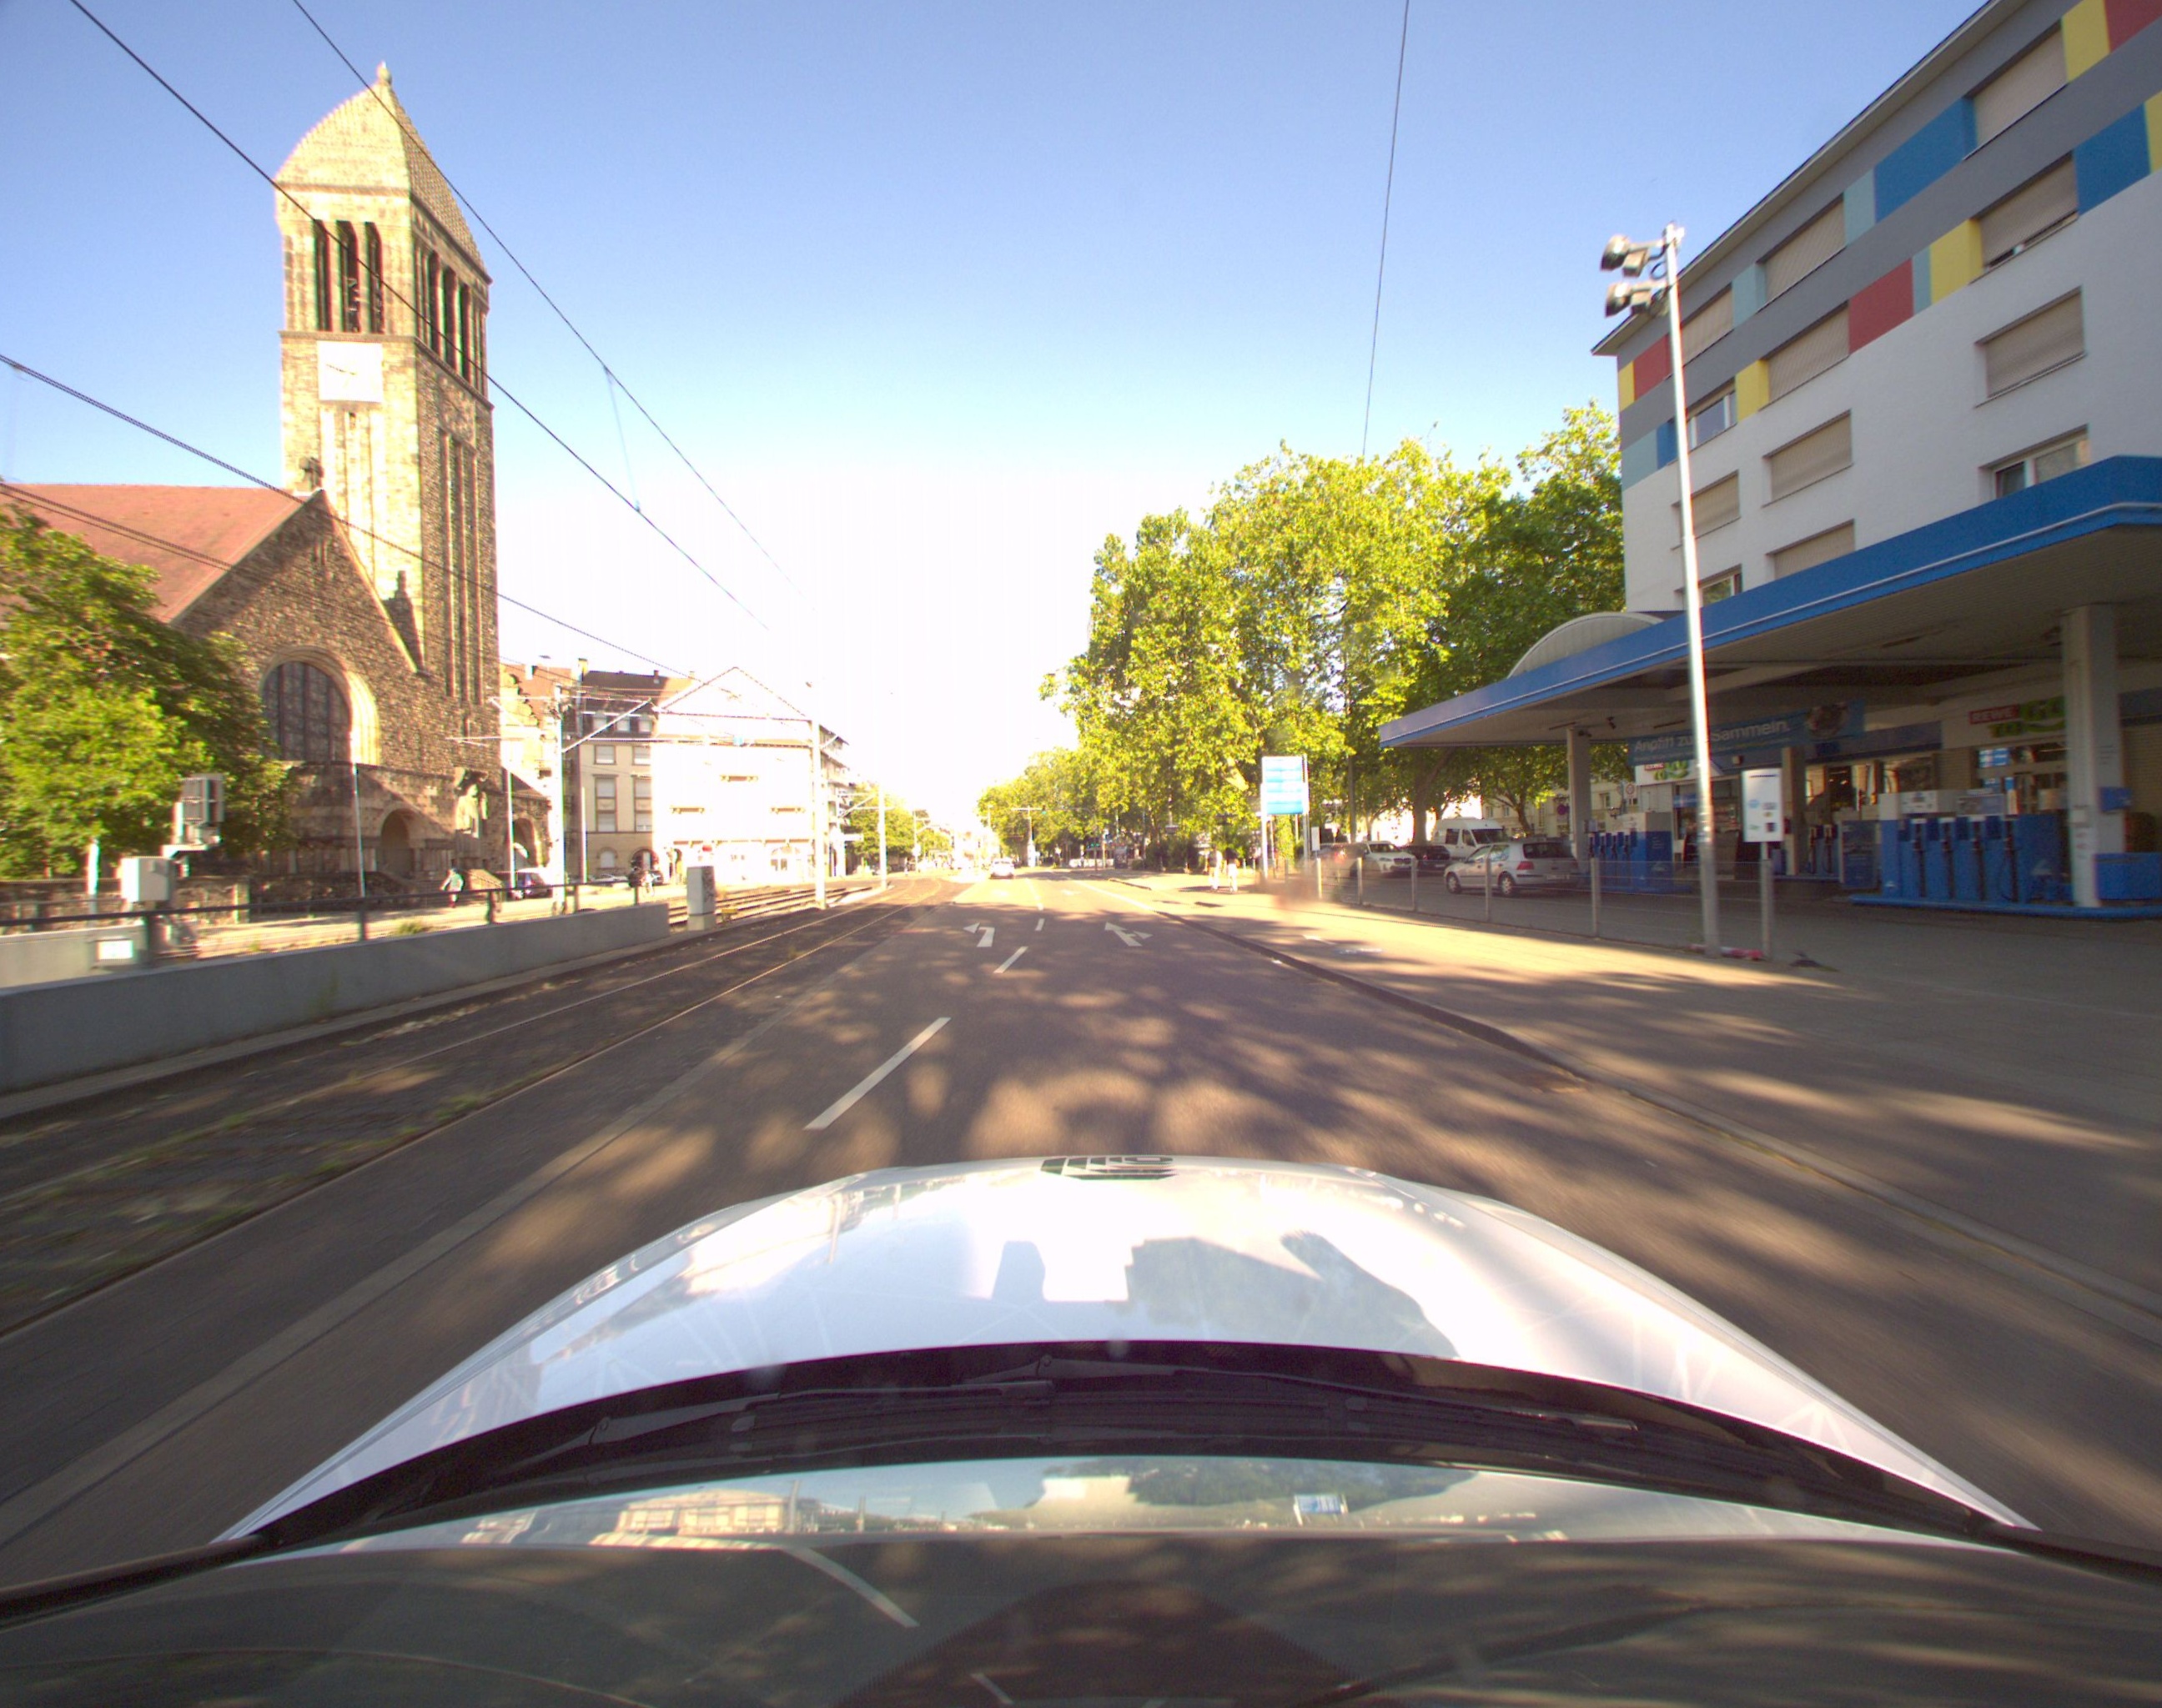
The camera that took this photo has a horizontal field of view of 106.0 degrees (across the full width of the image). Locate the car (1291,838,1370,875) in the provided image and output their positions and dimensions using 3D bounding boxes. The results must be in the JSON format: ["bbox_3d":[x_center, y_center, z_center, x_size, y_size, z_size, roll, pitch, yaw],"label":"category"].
[{"bbox_3d":[11.813,0.079,38.940,1.816,1.602,4.650,-2,1,-8],"label":"car"}]

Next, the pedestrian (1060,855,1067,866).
[{"bbox_3d":[-2.360,0.881,109.030,0.653,1.388,0.837,1,0,27],"label":"pedestrian"}]

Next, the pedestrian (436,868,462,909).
[{"bbox_3d":[-29.524,1.589,38.044,0.603,1.887,0.756,1,0,-2],"label":"pedestrian"}]

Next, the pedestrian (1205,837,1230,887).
[{"bbox_3d":[4.996,0.298,29.901,0.601,1.776,0.878,-5,0,-1],"label":"pedestrian"}]

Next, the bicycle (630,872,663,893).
[{"bbox_3d":[-26.211,1.707,49.124,0.629,1.144,2.280,-3,0,2],"label":"bicycle"}]

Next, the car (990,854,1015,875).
[{"bbox_3d":[-5.723,0.720,59.365,1.743,1.462,3.637,1,0,-6],"label":"car"}]

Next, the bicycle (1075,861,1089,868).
[{"bbox_3d":[0.109,1.325,102.854,1.199,0.934,2.564,1,0,-11],"label":"bicycle"}]

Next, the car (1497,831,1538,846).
[{"bbox_3d":[51.328,-1.805,95.786,3.986,1.659,1.813,1,0,-10],"label":"car"}]

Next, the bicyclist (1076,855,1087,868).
[{"bbox_3d":[0.099,0.932,102.923,1.200,1.696,0.900,1,0,-12],"label":"bicyclist"}]

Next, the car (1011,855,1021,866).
[{"bbox_3d":[-12.728,1.228,159.191,1.990,2.013,3.994,1,0,-5],"label":"car"}]

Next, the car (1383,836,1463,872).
[{"bbox_3d":[16.188,-0.025,38.758,1.857,1.570,3.993,-2,1,-5],"label":"car"}]

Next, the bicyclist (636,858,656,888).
[{"bbox_3d":[-26.248,1.121,49.129,0.629,1.722,0.916,-3,0,2],"label":"bicyclist"}]

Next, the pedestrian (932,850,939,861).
[{"bbox_3d":[-24.001,0.231,134.389,0.962,1.833,0.986,1,0,-11],"label":"pedestrian"}]

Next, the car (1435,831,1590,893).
[{"bbox_3d":[11.112,0.196,21.300,1.565,1.430,4.090,-2,0,-5],"label":"car"}]

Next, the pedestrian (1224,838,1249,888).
[{"bbox_3d":[5.644,0.326,29.559,0.601,1.776,0.689,-5,0,-1],"label":"pedestrian"}]

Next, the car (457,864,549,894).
[{"bbox_3d":[-34.008,1.462,48.024,3.977,1.629,1.893,1,0,-3],"label":"car"}]

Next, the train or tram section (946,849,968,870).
[{"bbox_3d":[-21.456,0.946,141.821,2.947,3.410,10.773,1,0,-4],"label":"train or tram section"}]

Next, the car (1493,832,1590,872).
[{"bbox_3d":[21.796,-0.089,38.734,1.992,1.739,3.990,-1,0,-7],"label":"car"}]

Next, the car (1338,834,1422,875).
[{"bbox_3d":[13.993,-0.023,38.405,1.857,1.735,4.790,-2,1,-5],"label":"car"}]

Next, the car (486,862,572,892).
[{"bbox_3d":[-34.420,1.442,50.876,3.977,1.756,1.893,1,0,-3],"label":"car"}]

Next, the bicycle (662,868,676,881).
[{"bbox_3d":[-41.905,2.054,82.828,0.828,1.283,2.537,1,0,-36],"label":"bicycle"}]

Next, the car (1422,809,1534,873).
[{"bbox_3d":[19.213,-0.591,39.842,2.237,2.833,5.787,-2,0,-5],"label":"car"}]

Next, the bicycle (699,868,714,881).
[{"bbox_3d":[-39.009,2.098,84.843,0.822,1.283,2.553,1,0,-13],"label":"bicycle"}]

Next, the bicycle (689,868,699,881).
[{"bbox_3d":[-39.863,2.084,83.822,0.825,1.283,2.544,1,0,-24],"label":"bicycle"}]

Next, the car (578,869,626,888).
[{"bbox_3d":[-47.068,2.378,80.012,4.540,1.753,2.012,1,0,29],"label":"car"}]

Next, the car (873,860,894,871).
[{"bbox_3d":[-27.371,1.576,112.874,1.990,1.449,4.832,-1,0,-4],"label":"car"}]
